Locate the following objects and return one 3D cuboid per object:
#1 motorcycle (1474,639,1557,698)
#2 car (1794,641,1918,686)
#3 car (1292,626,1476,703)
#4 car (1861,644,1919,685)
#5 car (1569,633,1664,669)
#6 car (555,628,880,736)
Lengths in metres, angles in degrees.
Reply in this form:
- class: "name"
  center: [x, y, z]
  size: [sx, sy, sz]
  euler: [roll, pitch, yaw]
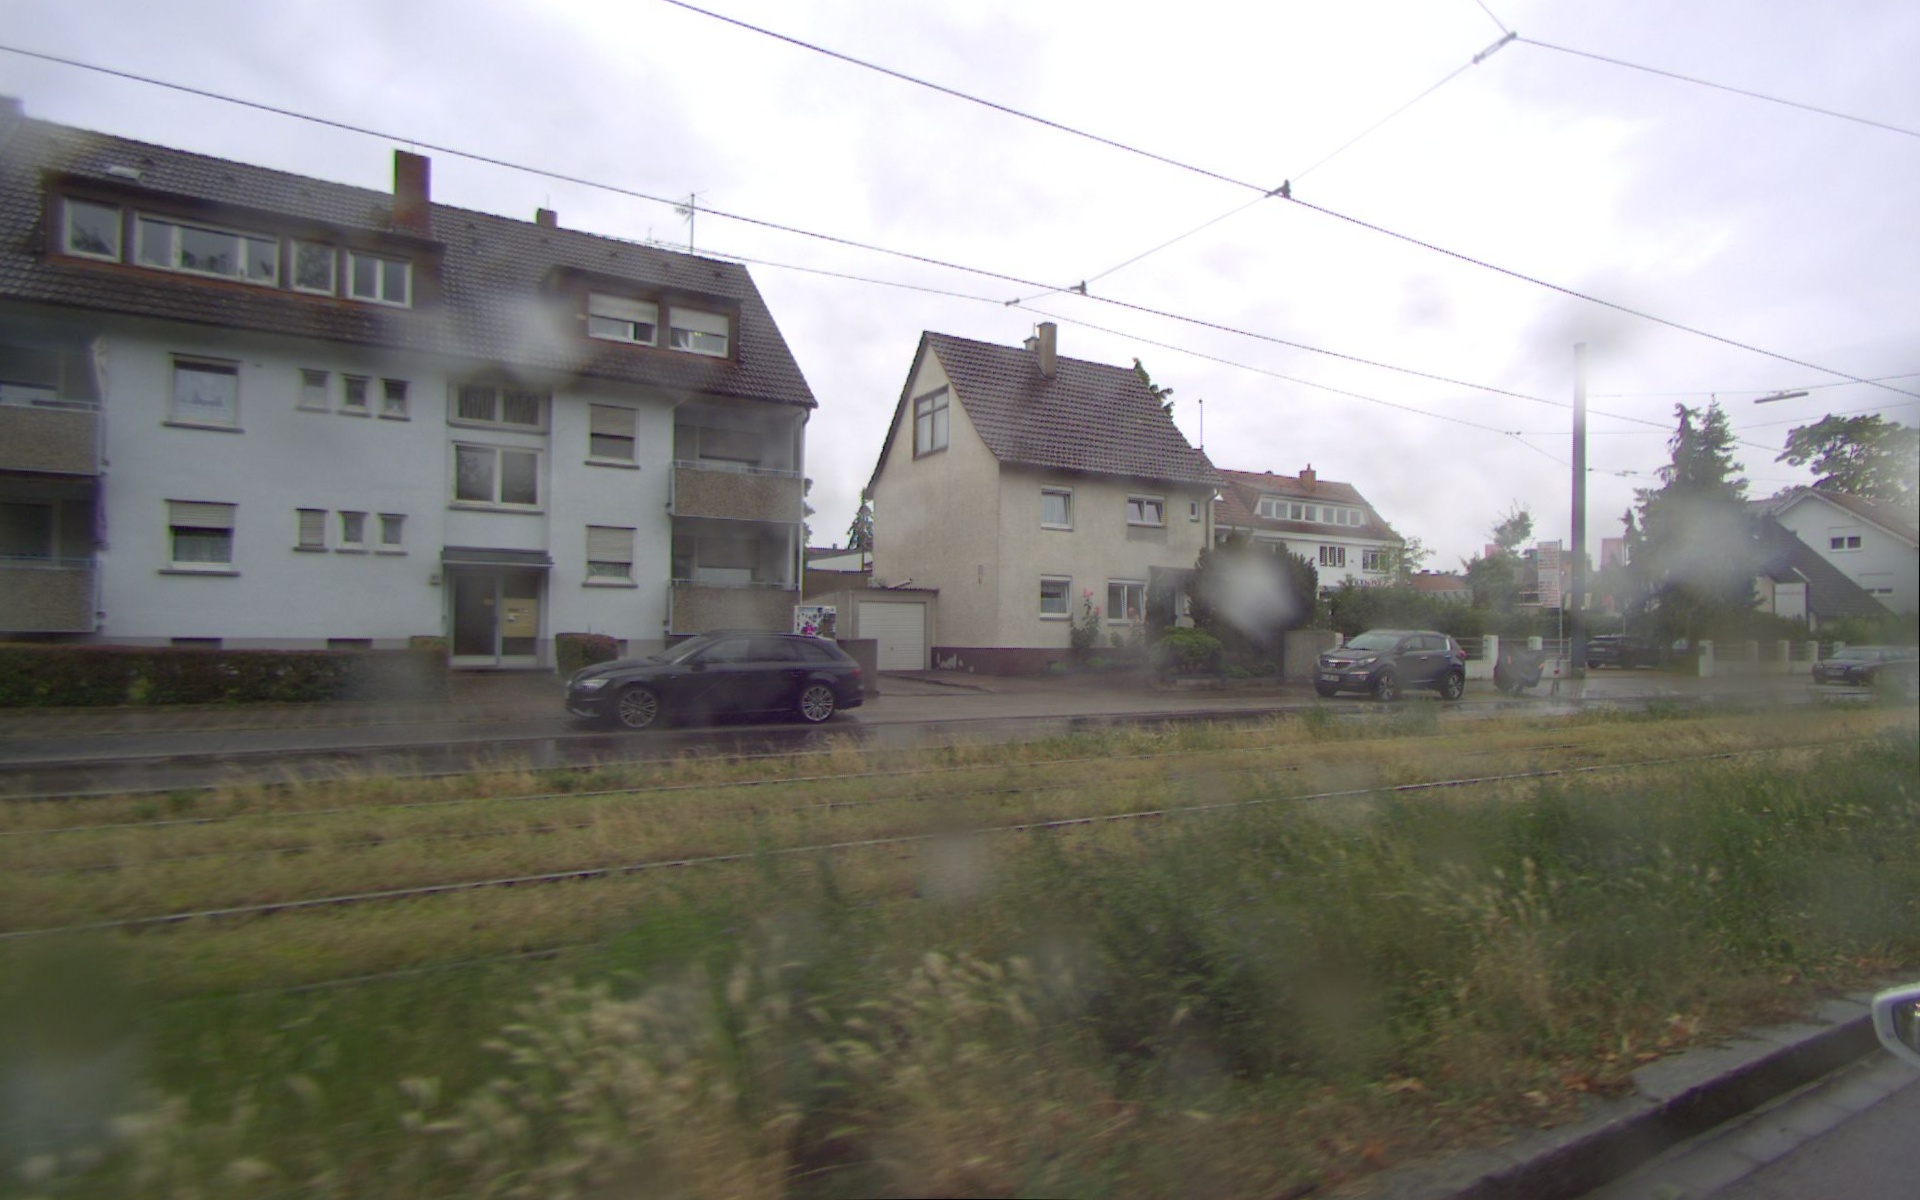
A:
- class: "motorcycle"
  center: [14.993, 1.812, 27.230]
  size: [1.241, 1.429, 2.689]
  euler: [2, -1, 13]
- class: "car"
  center: [33.195, 2.299, 37.197]
  size: [4.474, 1.475, 1.986]
  euler: [1, 0, -28]
- class: "car"
  center: [10.379, 1.527, 24.504]
  size: [4.338, 1.696, 1.983]
  euler: [2, -1, -31]
- class: "car"
  center: [38.141, 2.550, 40.180]
  size: [3.924, 1.430, 1.984]
  euler: [1, 0, -30]
- class: "car"
  center: [29.090, 2.231, 44.500]
  size: [3.871, 1.475, 1.984]
  euler: [1, 0, -30]
- class: "car"
  center: [-3.841, 1.214, 16.044]
  size: [4.701, 1.430, 1.986]
  euler: [1, 0, -28]
